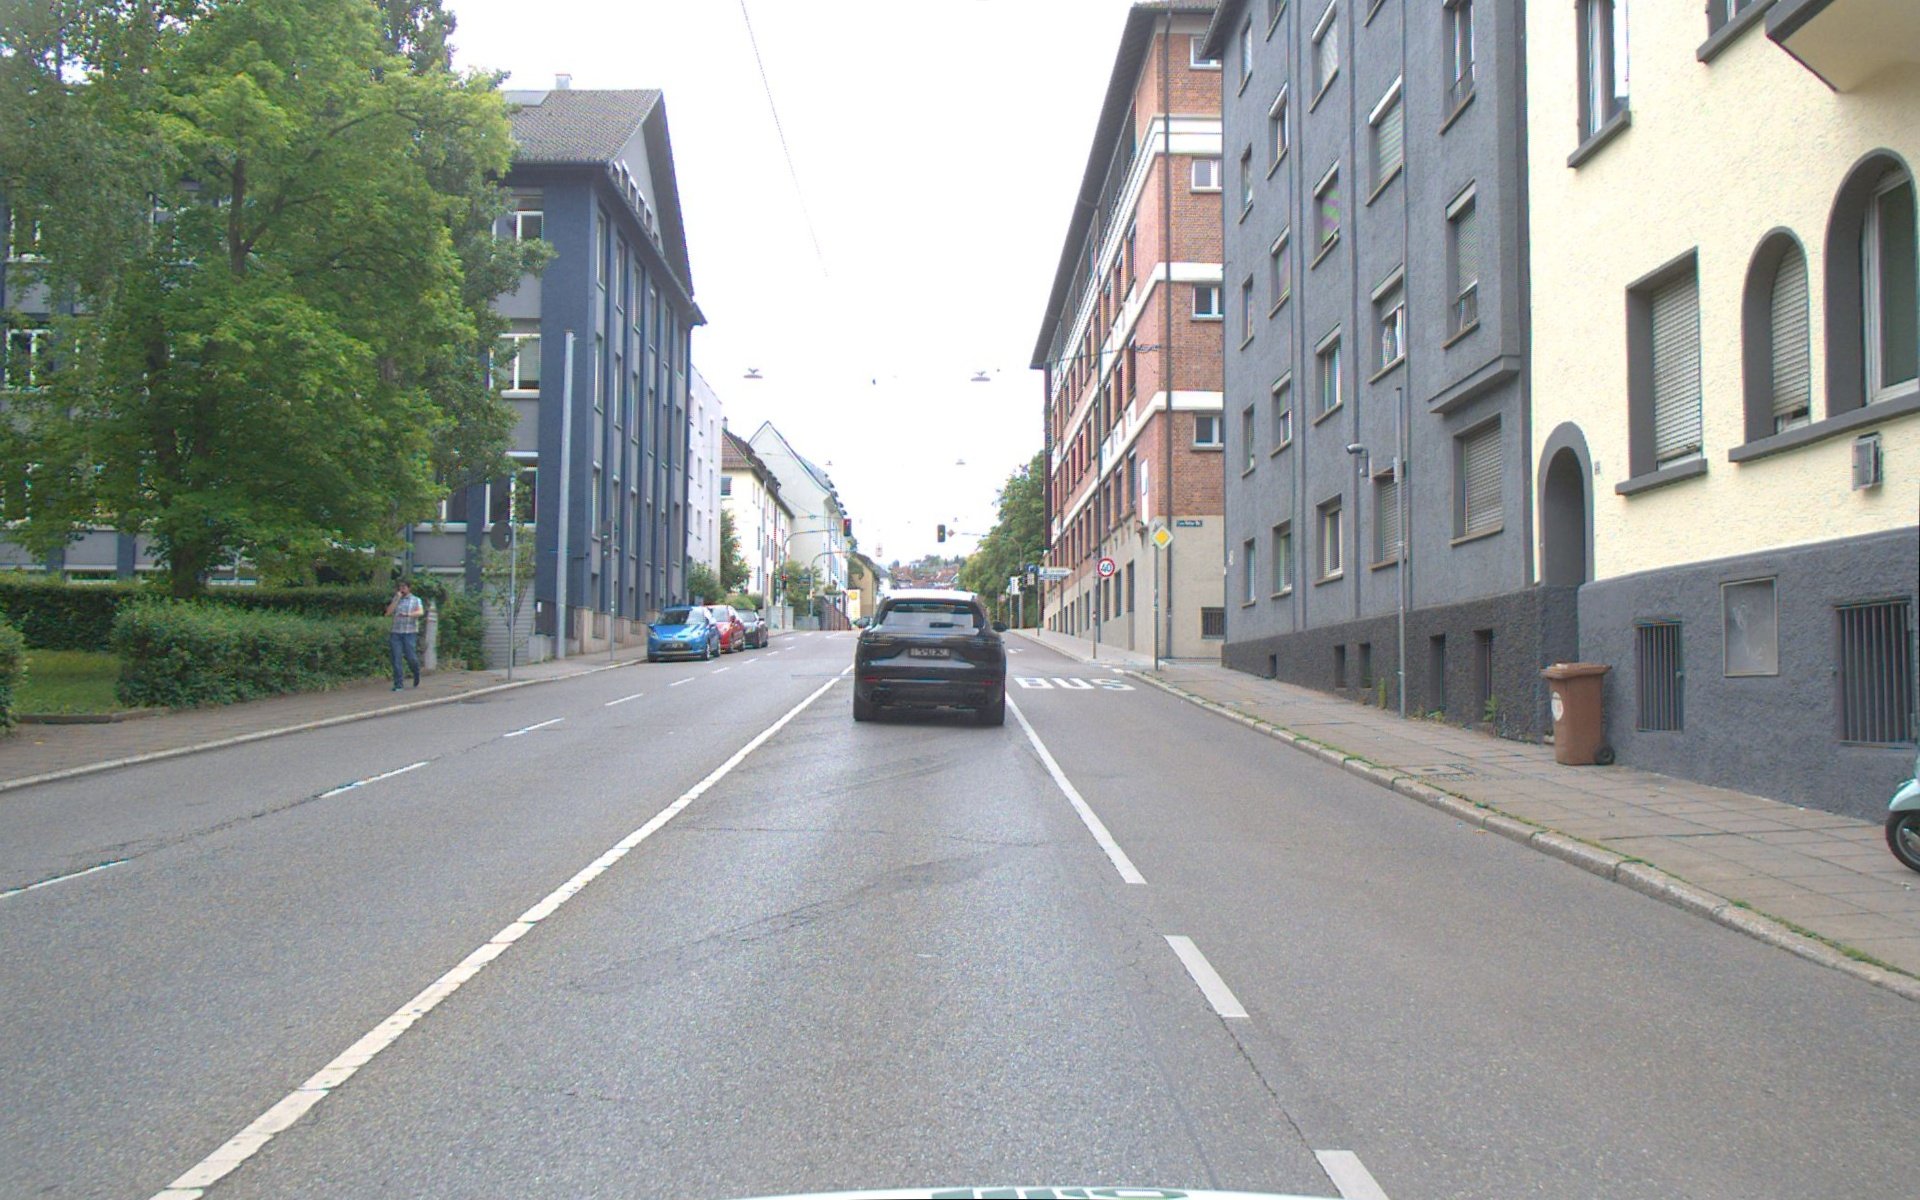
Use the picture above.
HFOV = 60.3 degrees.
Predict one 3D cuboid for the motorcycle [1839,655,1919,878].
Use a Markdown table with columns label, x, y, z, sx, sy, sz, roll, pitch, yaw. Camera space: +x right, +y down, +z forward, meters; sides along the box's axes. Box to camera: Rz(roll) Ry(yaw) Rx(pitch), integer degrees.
| label | x | y | z | sx | sy | sz | roll | pitch | yaw |
| --- | --- | --- | --- | --- | --- | --- | --- | --- | --- |
| motorcycle | 5.521 | 0.920 | 8.633 | 0.527 | 1.176 | 2.225 | -2 | 0 | -3 |

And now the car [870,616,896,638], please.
| label | x | y | z | sx | sy | sz | roll | pitch | yaw |
| --- | --- | --- | --- | --- | --- | --- | --- | --- | --- |
| car | -6.369 | 2.236 | 136.892 | 1.858 | 1.721 | 4.000 | -2 | 0 | 1 |

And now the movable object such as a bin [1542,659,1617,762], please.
| label | x | y | z | sx | sy | sz | roll | pitch | yaw |
| --- | --- | --- | --- | --- | --- | --- | --- | --- | --- |
| movable object such as a bin | 5.799 | 1.028 | 15.501 | 0.465 | 0.907 | 0.516 | -3 | 0 | -2 |

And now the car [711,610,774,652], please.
| label | x | y | z | sx | sy | sz | roll | pitch | yaw |
| --- | --- | --- | --- | --- | --- | --- | --- | --- | --- |
| car | -7.556 | 1.070 | 57.764 | 1.679 | 1.364 | 3.903 | -2 | 0 | -1 |

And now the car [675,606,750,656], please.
| label | x | y | z | sx | sy | sz | roll | pitch | yaw |
| --- | --- | --- | --- | --- | --- | --- | --- | --- | --- |
| car | -7.779 | 0.951 | 52.240 | 1.679 | 1.482 | 3.989 | -2 | 0 | 0 |

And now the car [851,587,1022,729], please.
| label | x | y | z | sx | sy | sz | roll | pitch | yaw |
| --- | --- | --- | --- | --- | --- | --- | --- | --- | --- |
| car | -0.427 | 0.732 | 22.332 | 1.984 | 1.670 | 4.351 | 2 | -1 | -5 |

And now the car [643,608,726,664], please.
| label | x | y | z | sx | sy | sz | roll | pitch | yaw |
| --- | --- | --- | --- | --- | --- | --- | --- | --- | --- |
| car | -7.688 | 0.970 | 46.412 | 1.679 | 1.448 | 3.988 | -2 | 0 | -1 |

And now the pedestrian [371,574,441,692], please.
| label | x | y | z | sx | sy | sz | roll | pitch | yaw |
| --- | --- | --- | --- | --- | --- | --- | --- | --- | --- |
| pedestrian | -9.641 | 0.568 | 28.813 | 0.864 | 1.984 | 0.867 | 2 | 0 | -1 |
